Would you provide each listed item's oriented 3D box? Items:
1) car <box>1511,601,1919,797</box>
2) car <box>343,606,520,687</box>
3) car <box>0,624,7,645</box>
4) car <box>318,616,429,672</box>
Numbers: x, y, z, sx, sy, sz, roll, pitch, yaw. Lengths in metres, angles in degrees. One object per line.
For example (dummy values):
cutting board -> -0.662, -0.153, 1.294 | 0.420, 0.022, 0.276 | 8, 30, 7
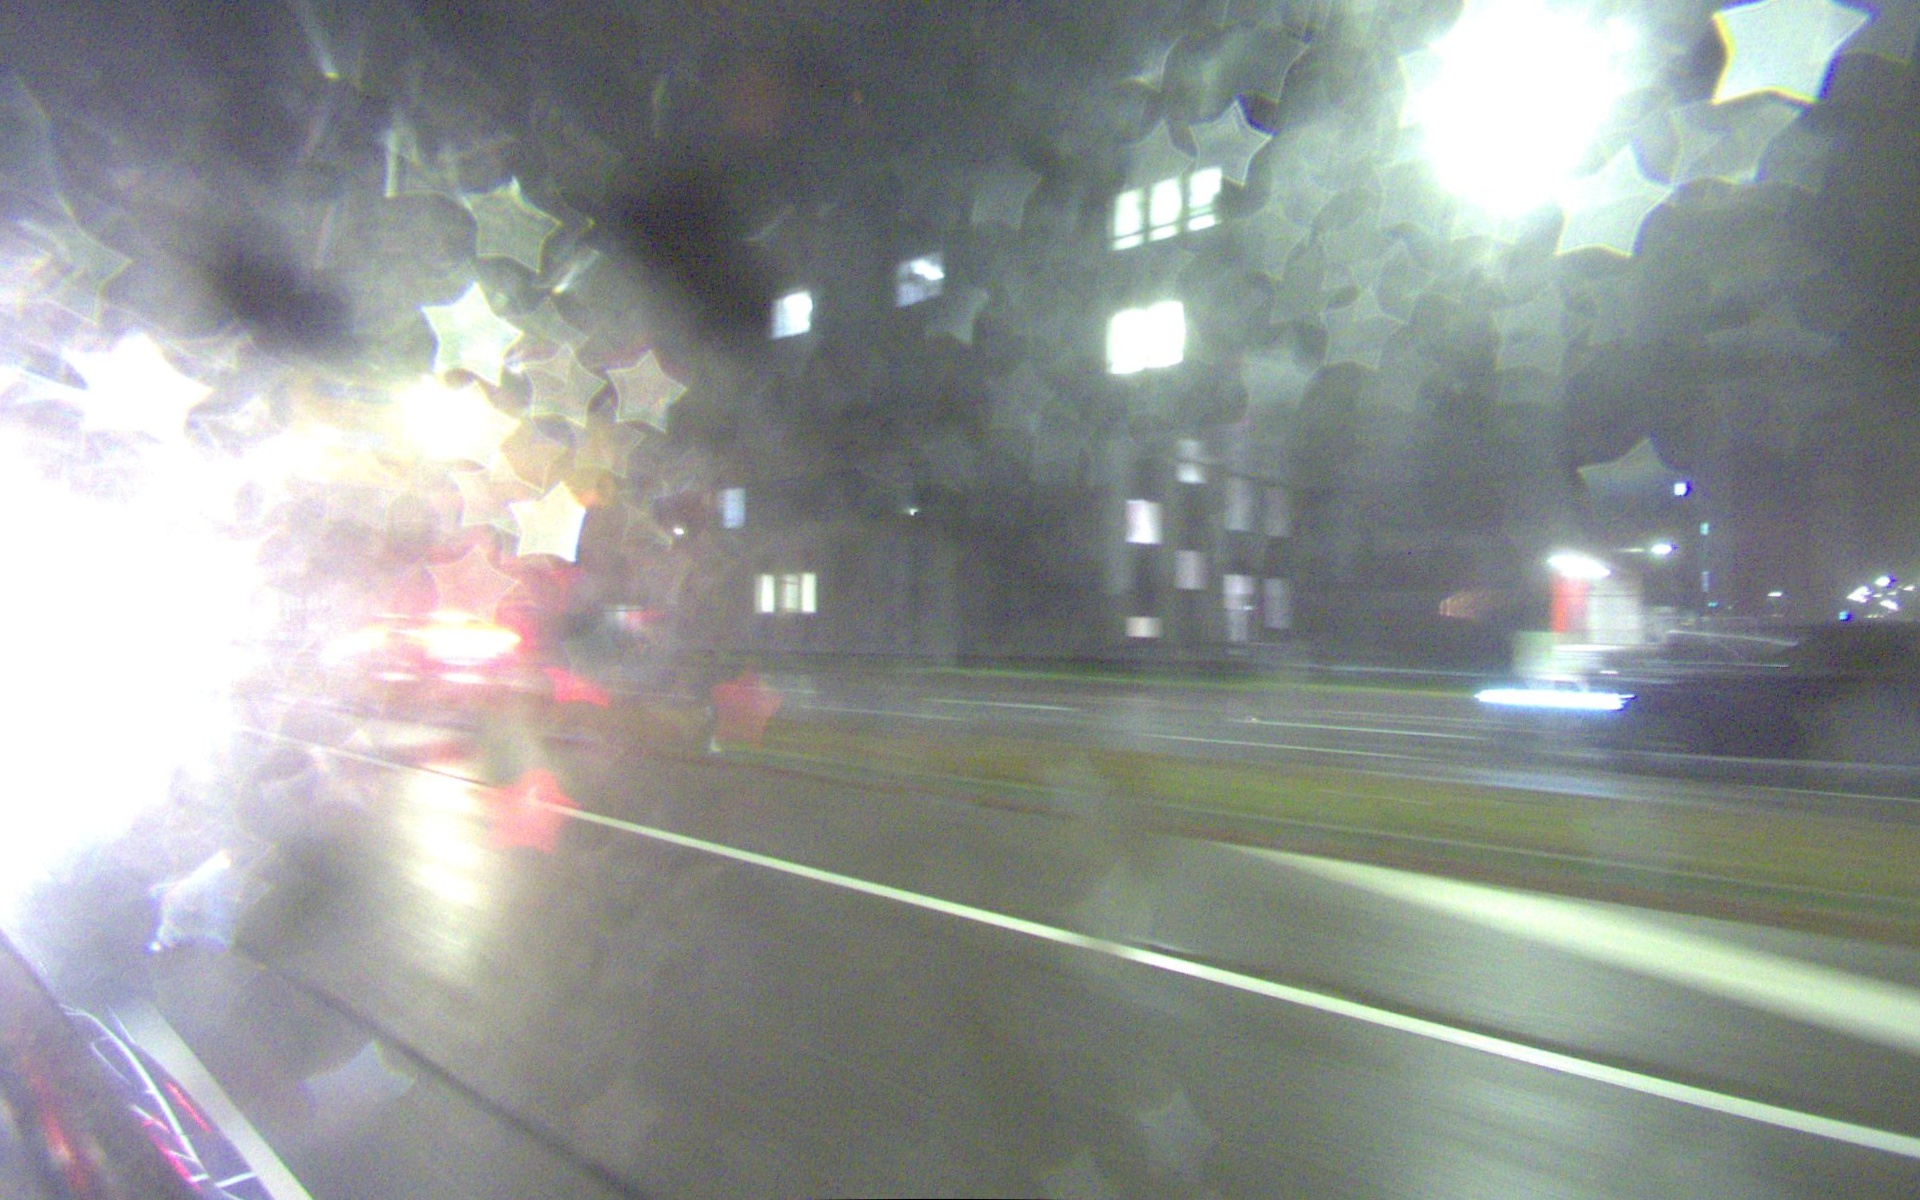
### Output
car -> 8.224, 0.830, 9.356 | 5.316, 1.604, 1.827 | -1, 0, 36
car -> -11.670, 1.017, 22.254 | 4.251, 1.605, 1.825 | -1, -4, 39
car -> -77.300, 2.743, 80.484 | 3.815, 1.589, 1.690 | -1, 0, 39
car -> -18.052, 1.310, 31.099 | 3.815, 1.589, 1.690 | -1, 0, 39
